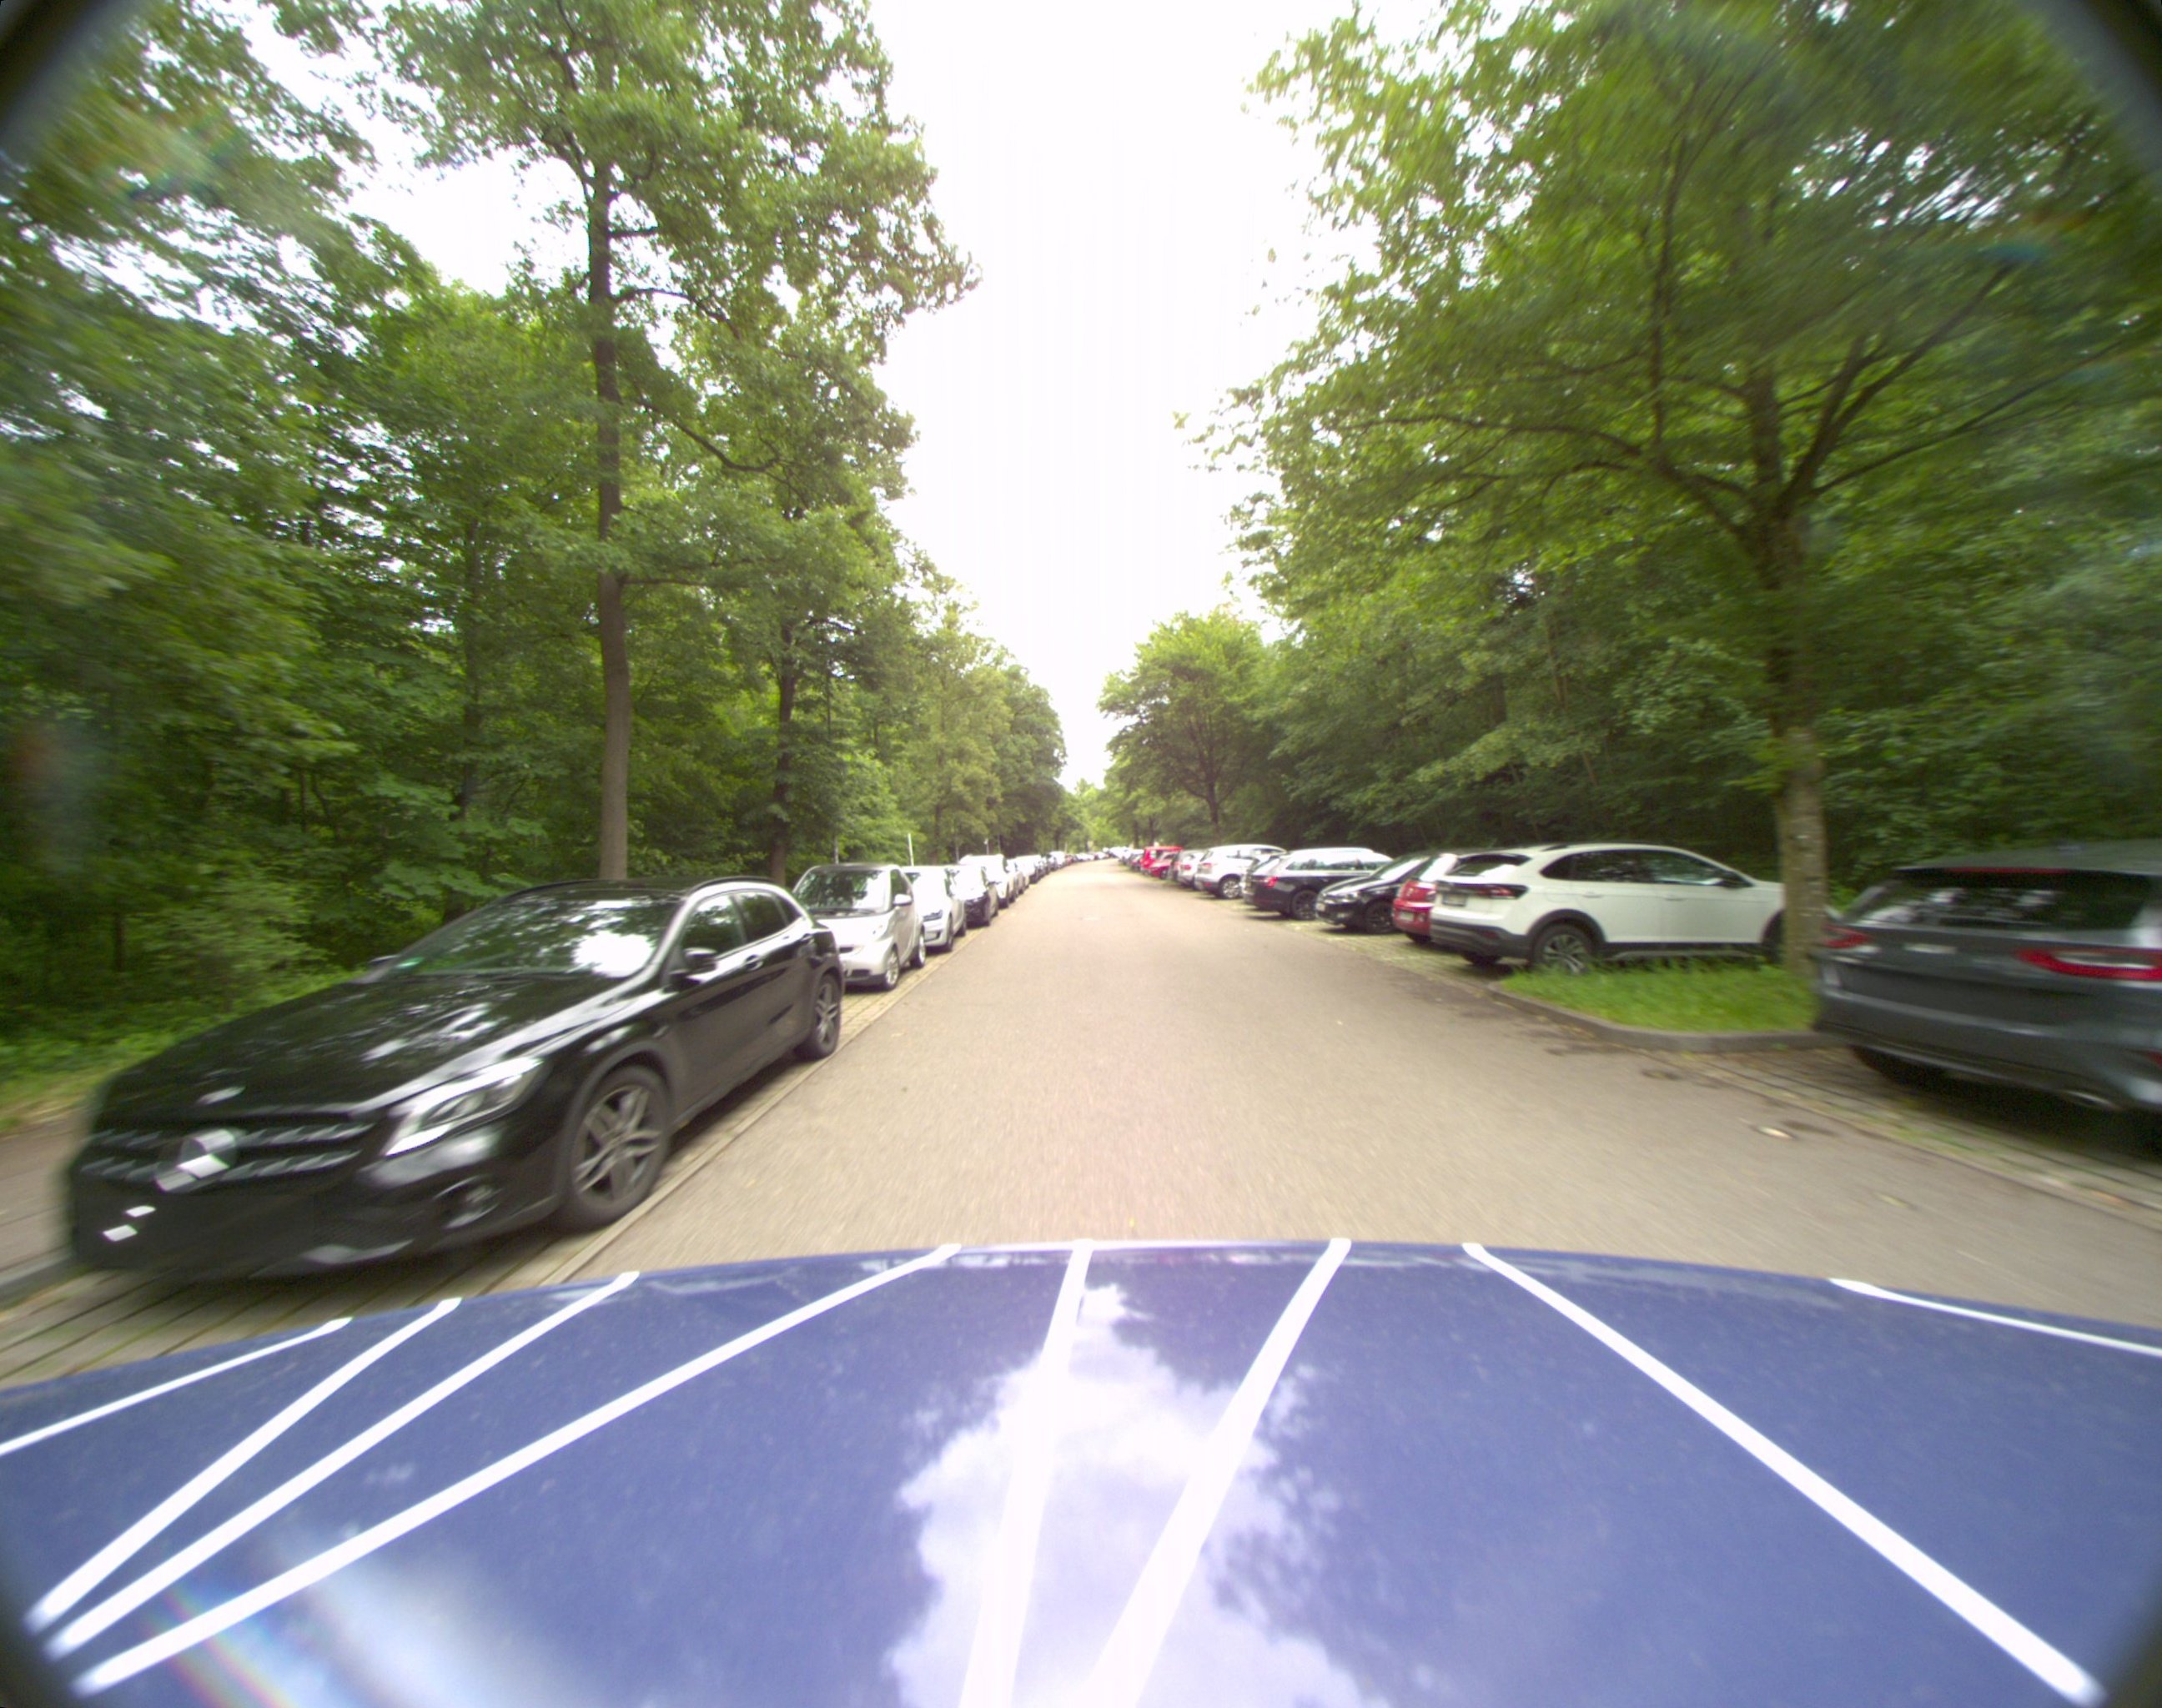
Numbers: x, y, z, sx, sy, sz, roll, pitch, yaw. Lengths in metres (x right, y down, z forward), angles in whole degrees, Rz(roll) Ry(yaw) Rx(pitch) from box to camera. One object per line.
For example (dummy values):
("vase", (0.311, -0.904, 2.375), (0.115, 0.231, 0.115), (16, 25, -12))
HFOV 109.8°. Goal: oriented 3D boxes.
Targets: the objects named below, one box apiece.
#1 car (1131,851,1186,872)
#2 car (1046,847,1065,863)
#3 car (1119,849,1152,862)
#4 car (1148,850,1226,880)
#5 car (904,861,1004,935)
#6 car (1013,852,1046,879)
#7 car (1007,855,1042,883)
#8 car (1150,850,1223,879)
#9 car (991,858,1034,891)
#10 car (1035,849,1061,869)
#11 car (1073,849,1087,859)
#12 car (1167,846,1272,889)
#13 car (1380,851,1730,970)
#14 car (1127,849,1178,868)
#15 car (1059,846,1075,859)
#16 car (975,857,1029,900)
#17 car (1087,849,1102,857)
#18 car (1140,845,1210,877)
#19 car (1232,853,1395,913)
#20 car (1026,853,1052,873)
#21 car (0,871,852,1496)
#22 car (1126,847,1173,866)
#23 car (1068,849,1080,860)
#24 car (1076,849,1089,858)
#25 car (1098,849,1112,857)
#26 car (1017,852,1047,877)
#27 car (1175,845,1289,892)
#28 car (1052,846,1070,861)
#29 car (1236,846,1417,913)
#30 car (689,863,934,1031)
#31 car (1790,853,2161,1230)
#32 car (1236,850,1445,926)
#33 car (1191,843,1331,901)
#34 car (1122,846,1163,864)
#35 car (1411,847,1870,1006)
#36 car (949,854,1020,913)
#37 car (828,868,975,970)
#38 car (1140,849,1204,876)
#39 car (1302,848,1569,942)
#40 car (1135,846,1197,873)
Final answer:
("car", (5.751, 0.577, 56.693), (3.996, 1.413, 1.742), (-2, 0, 2))
("car", (-2.723, 0.063, 81.609), (1.580, 1.610, 3.963), (-2, 0, 3))
("car", (7.085, 0.236, 99.069), (3.998, 1.469, 1.713), (-3, 0, -3))
("car", (5.735, 0.595, 41.570), (3.997, 1.507, 1.771), (-2, 1, 0))
("car", (-2.957, 0.970, 18.644), (1.741, 1.465, 4.604), (-2, 0, -2))
("car", (-3.230, 0.721, 48.526), (1.843, 1.551, 4.423), (-2, 0, -2))
("car", (-3.192, 0.812, 43.436), (1.741, 1.426, 4.744), (-2, 0, -2))
("car", (6.159, 0.592, 44.532), (3.997, 1.507, 1.818), (-2, 1, 0))
("car", (-3.262, 0.924, 36.778), (1.741, 1.398, 4.426), (-2, 0, -2))
("car", (-3.038, 0.445, 70.456), (1.909, 1.713, 4.486), (-2, 0, 3))
("car", (-0.136, 0.016, 118.152), (1.501, 1.470, 3.668), (-2, 0, 9))
("car", (5.702, 0.544, 31.606), (3.998, 1.652, 1.696), (-1, 1, -2))
("car", (6.737, 0.769, 11.120), (3.996, 1.427, 1.702), (-3, 0, 2))
("car", (6.219, 0.407, 66.593), (4.222, 1.528, 1.818), (-2, 1, 0))
("car", (-1.785, -0.183, 95.483), (1.642, 1.561, 3.666), (-2, 0, 3))
("car", (-3.084, 0.923, 30.599), (1.741, 1.471, 4.768), (-2, 0, -2))
("car", (2.466, -0.228, 134.746), (1.771, 1.308, 3.893), (-2, 1, 13))
("car", (5.707, 0.426, 46.511), (3.997, 1.804, 1.818), (-2, 1, -1))
("car", (6.483, 0.782, 21.473), (3.997, 1.413, 1.814), (-3, 0, -2))
("car", (-3.241, 0.689, 59.683), (1.824, 1.433, 3.999), (-2, 0, 0))
("car", (-2.891, 0.983, 4.292), (1.740, 1.580, 4.382), (-2, 0, 1))
("car", (6.192, 0.239, 69.020), (3.999, 1.508, 1.713), (-3, 0, -5))
("car", (-0.974, 0.049, 110.079), (1.502, 1.470, 3.666), (-3, 0, 3))
("car", (0.242, -0.089, 123.537), (1.501, 1.331, 3.435), (-2, 0, 9))
("car", (4.552, -0.198, 144.753), (1.771, 1.308, 3.892), (-2, 2, 13))
("car", (-3.444, 0.717, 53.841), (1.907, 1.577, 4.480), (-2, 0, -2))
("car", (5.722, 0.545, 29.138), (3.997, 1.652, 1.814), (-1, 1, 0))
("car", (-2.316, -0.067, 89.469), (1.642, 1.742, 4.054), (-2, 0, 3))
("car", (6.087, 0.613, 19.147), (3.996, 1.427, 1.648), (-3, 0, 2))
("car", (-3.118, 0.965, 9.718), (1.741, 1.559, 4.007), (-2, 0, -2))
("car", (6.393, 0.723, 3.831), (3.997, 1.430, 1.715), (-3, 0, 0))
("car", (5.605, 0.711, 16.784), (3.996, 1.427, 1.677), (-3, 0, 2))
("car", (5.673, 0.554, 24.296), (3.997, 1.652, 1.814), (-2, 1, -2))
("car", (6.341, 0.130, 79.093), (3.998, 1.717, 1.713), (-3, 0, -3))
("car", (6.201, 0.754, 8.762), (3.997, 1.459, 1.715), (-3, 0, -1))
("car", (-3.022, 0.851, 24.667), (1.741, 1.634, 5.071), (-2, 0, -2))
("car", (-3.068, 1.051, 13.864), (1.741, 1.417, 4.153), (-2, 0, -2))
("car", (5.854, 0.519, 49.182), (3.996, 1.588, 1.741), (-2, 1, 2))
("car", (6.244, 0.699, 13.709), (3.996, 1.427, 1.677), (-3, 0, 2))
("car", (5.737, 0.349, 51.423), (3.996, 1.588, 1.742), (-3, 0, 2))
